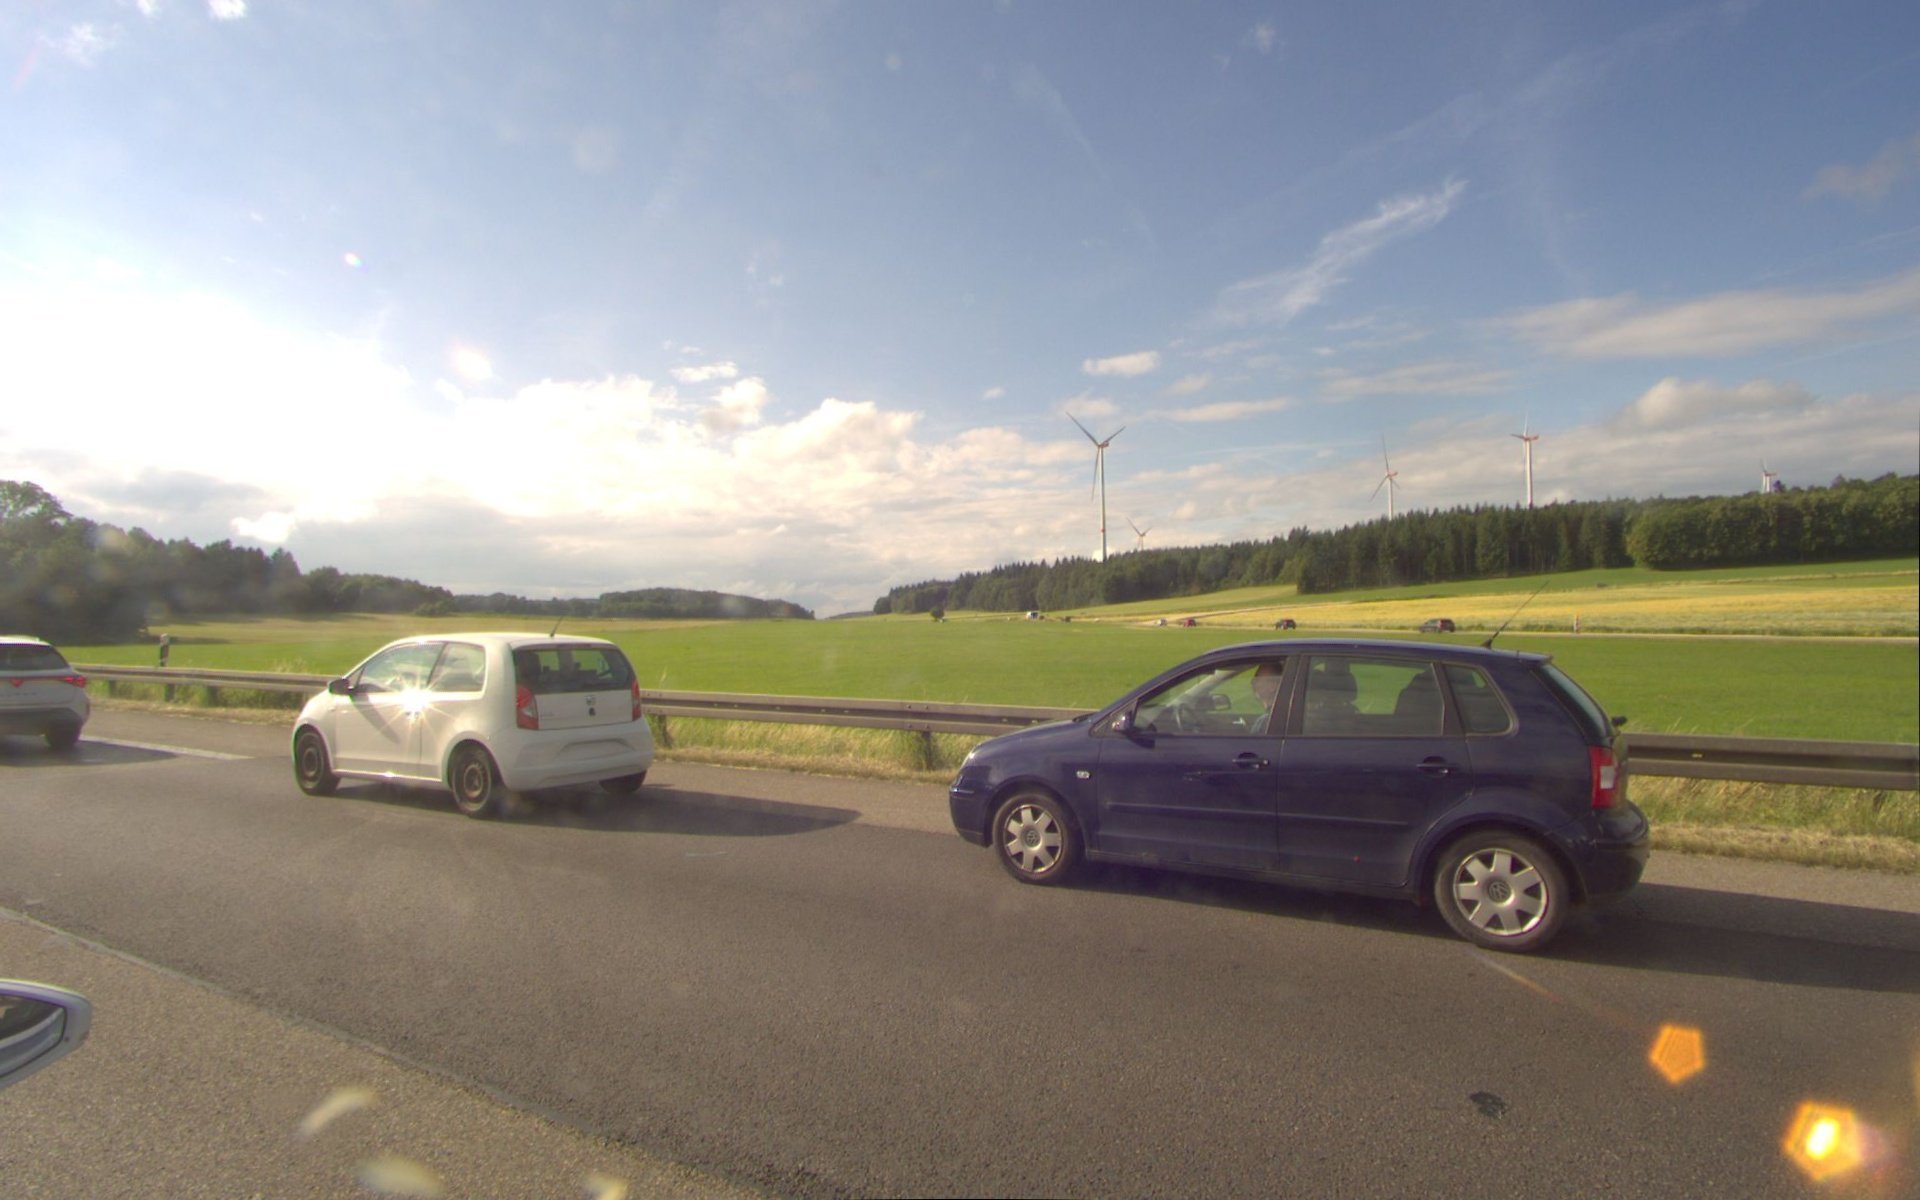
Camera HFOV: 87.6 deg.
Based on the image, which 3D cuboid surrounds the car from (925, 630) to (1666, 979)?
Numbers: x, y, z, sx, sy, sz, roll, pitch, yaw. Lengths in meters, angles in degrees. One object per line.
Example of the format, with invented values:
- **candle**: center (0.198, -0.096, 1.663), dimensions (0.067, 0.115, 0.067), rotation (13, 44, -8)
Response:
- **car**: center (1.805, 0.925, 5.922), dimensions (3.719, 1.464, 1.708), rotation (-1, -2, 31)

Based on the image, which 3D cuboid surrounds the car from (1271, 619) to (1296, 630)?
- **car**: center (45.225, 3.404, 139.966), dimensions (1.803, 1.505, 4.221), rotation (0, -2, -6)

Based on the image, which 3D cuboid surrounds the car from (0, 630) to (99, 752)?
- **car**: center (-13.185, 1.134, 13.097), dimensions (4.084, 1.464, 1.619), rotation (-1, -2, 29)

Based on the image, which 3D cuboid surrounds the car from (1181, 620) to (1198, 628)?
- **car**: center (42.990, 4.484, 187.963), dimensions (1.803, 1.505, 4.221), rotation (0, -2, -6)

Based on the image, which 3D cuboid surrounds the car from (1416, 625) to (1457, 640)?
- **car**: center (48.717, 3.356, 102.512), dimensions (1.803, 1.505, 4.221), rotation (0, -2, -6)

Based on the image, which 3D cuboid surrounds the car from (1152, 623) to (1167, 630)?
- **car**: center (42.445, 5.703, 213.143), dimensions (1.803, 1.505, 4.288), rotation (0, -2, -6)

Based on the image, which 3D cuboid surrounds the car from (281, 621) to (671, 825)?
- **car**: center (-4.397, 0.967, 9.048), dimensions (3.326, 1.514, 1.547), rotation (0, -1, 29)
